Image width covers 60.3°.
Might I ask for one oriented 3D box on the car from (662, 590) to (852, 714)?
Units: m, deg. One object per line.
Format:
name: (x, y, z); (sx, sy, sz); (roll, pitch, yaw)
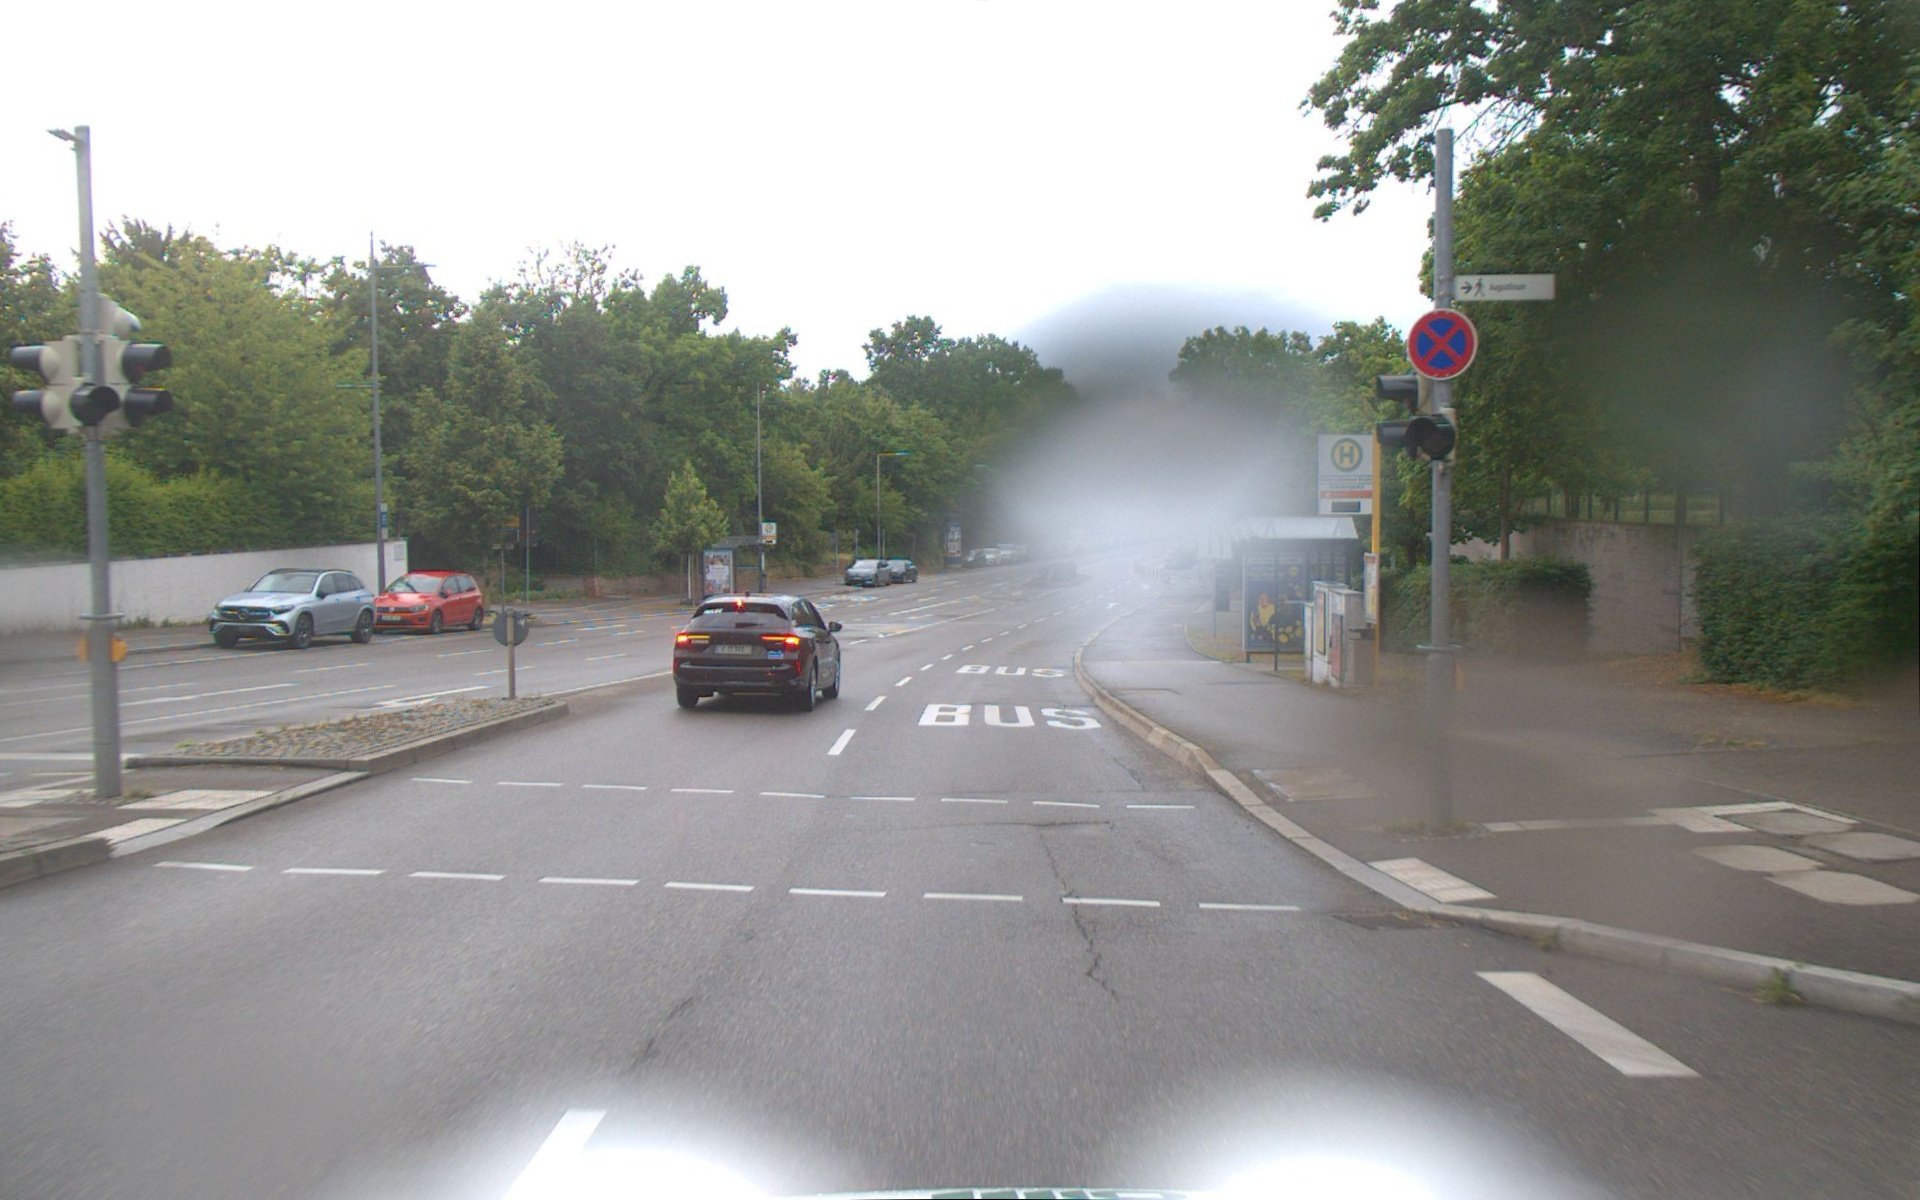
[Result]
car: (-2.607, 0.629, 22.288); (1.762, 1.455, 4.521); (2, 0, 3)

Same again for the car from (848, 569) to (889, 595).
car: (-5.364, -1.079, 97.788); (1.676, 1.486, 3.754); (0, 1, 9)

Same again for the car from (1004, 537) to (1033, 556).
car: (5.357, -4.883, 150.629); (1.914, 1.511, 4.005); (2, 5, 13)

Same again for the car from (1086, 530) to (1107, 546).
car: (16.041, -7.287, 194.144); (1.914, 1.681, 4.005); (2, 5, 13)

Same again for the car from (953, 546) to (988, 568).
car: (0.846, -3.495, 132.583); (1.914, 1.511, 4.005); (2, 5, 13)

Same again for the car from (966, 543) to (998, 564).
car: (1.845, -3.874, 137.449); (1.819, 1.511, 4.005); (2, 5, 13)

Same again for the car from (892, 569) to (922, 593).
car: (-3.309, -1.183, 103.844); (1.386, 1.449, 3.125); (0, 1, 8)

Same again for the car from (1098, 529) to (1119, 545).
car: (17.983, -7.629, 199.925); (1.914, 1.681, 4.005); (2, 5, 13)

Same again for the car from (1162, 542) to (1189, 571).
car: (17.950, -3.641, 137.861); (1.951, 2.113, 4.006); (2, 5, 11)

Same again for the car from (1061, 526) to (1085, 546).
car: (12.333, -6.964, 180.714); (1.914, 1.970, 4.005); (2, 5, 13)

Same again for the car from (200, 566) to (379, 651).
car: (-14.581, 0.138, 36.221); (1.814, 1.668, 4.097); (2, 2, 7)

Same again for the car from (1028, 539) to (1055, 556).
car: (8.071, -5.194, 163.043); (1.914, 1.511, 4.005); (2, 5, 13)

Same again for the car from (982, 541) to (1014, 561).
car: (3.312, -4.243, 142.306); (1.914, 1.511, 4.005); (2, 5, 13)

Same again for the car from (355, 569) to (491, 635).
car: (-14.003, 0.015, 43.385); (1.835, 1.602, 4.226); (2, 1, 5)

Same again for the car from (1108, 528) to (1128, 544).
car: (19.574, -7.934, 204.492); (1.914, 1.681, 4.005); (2, 5, 13)

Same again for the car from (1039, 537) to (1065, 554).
car: (9.418, -5.594, 168.261); (1.914, 1.511, 4.005); (2, 5, 13)
